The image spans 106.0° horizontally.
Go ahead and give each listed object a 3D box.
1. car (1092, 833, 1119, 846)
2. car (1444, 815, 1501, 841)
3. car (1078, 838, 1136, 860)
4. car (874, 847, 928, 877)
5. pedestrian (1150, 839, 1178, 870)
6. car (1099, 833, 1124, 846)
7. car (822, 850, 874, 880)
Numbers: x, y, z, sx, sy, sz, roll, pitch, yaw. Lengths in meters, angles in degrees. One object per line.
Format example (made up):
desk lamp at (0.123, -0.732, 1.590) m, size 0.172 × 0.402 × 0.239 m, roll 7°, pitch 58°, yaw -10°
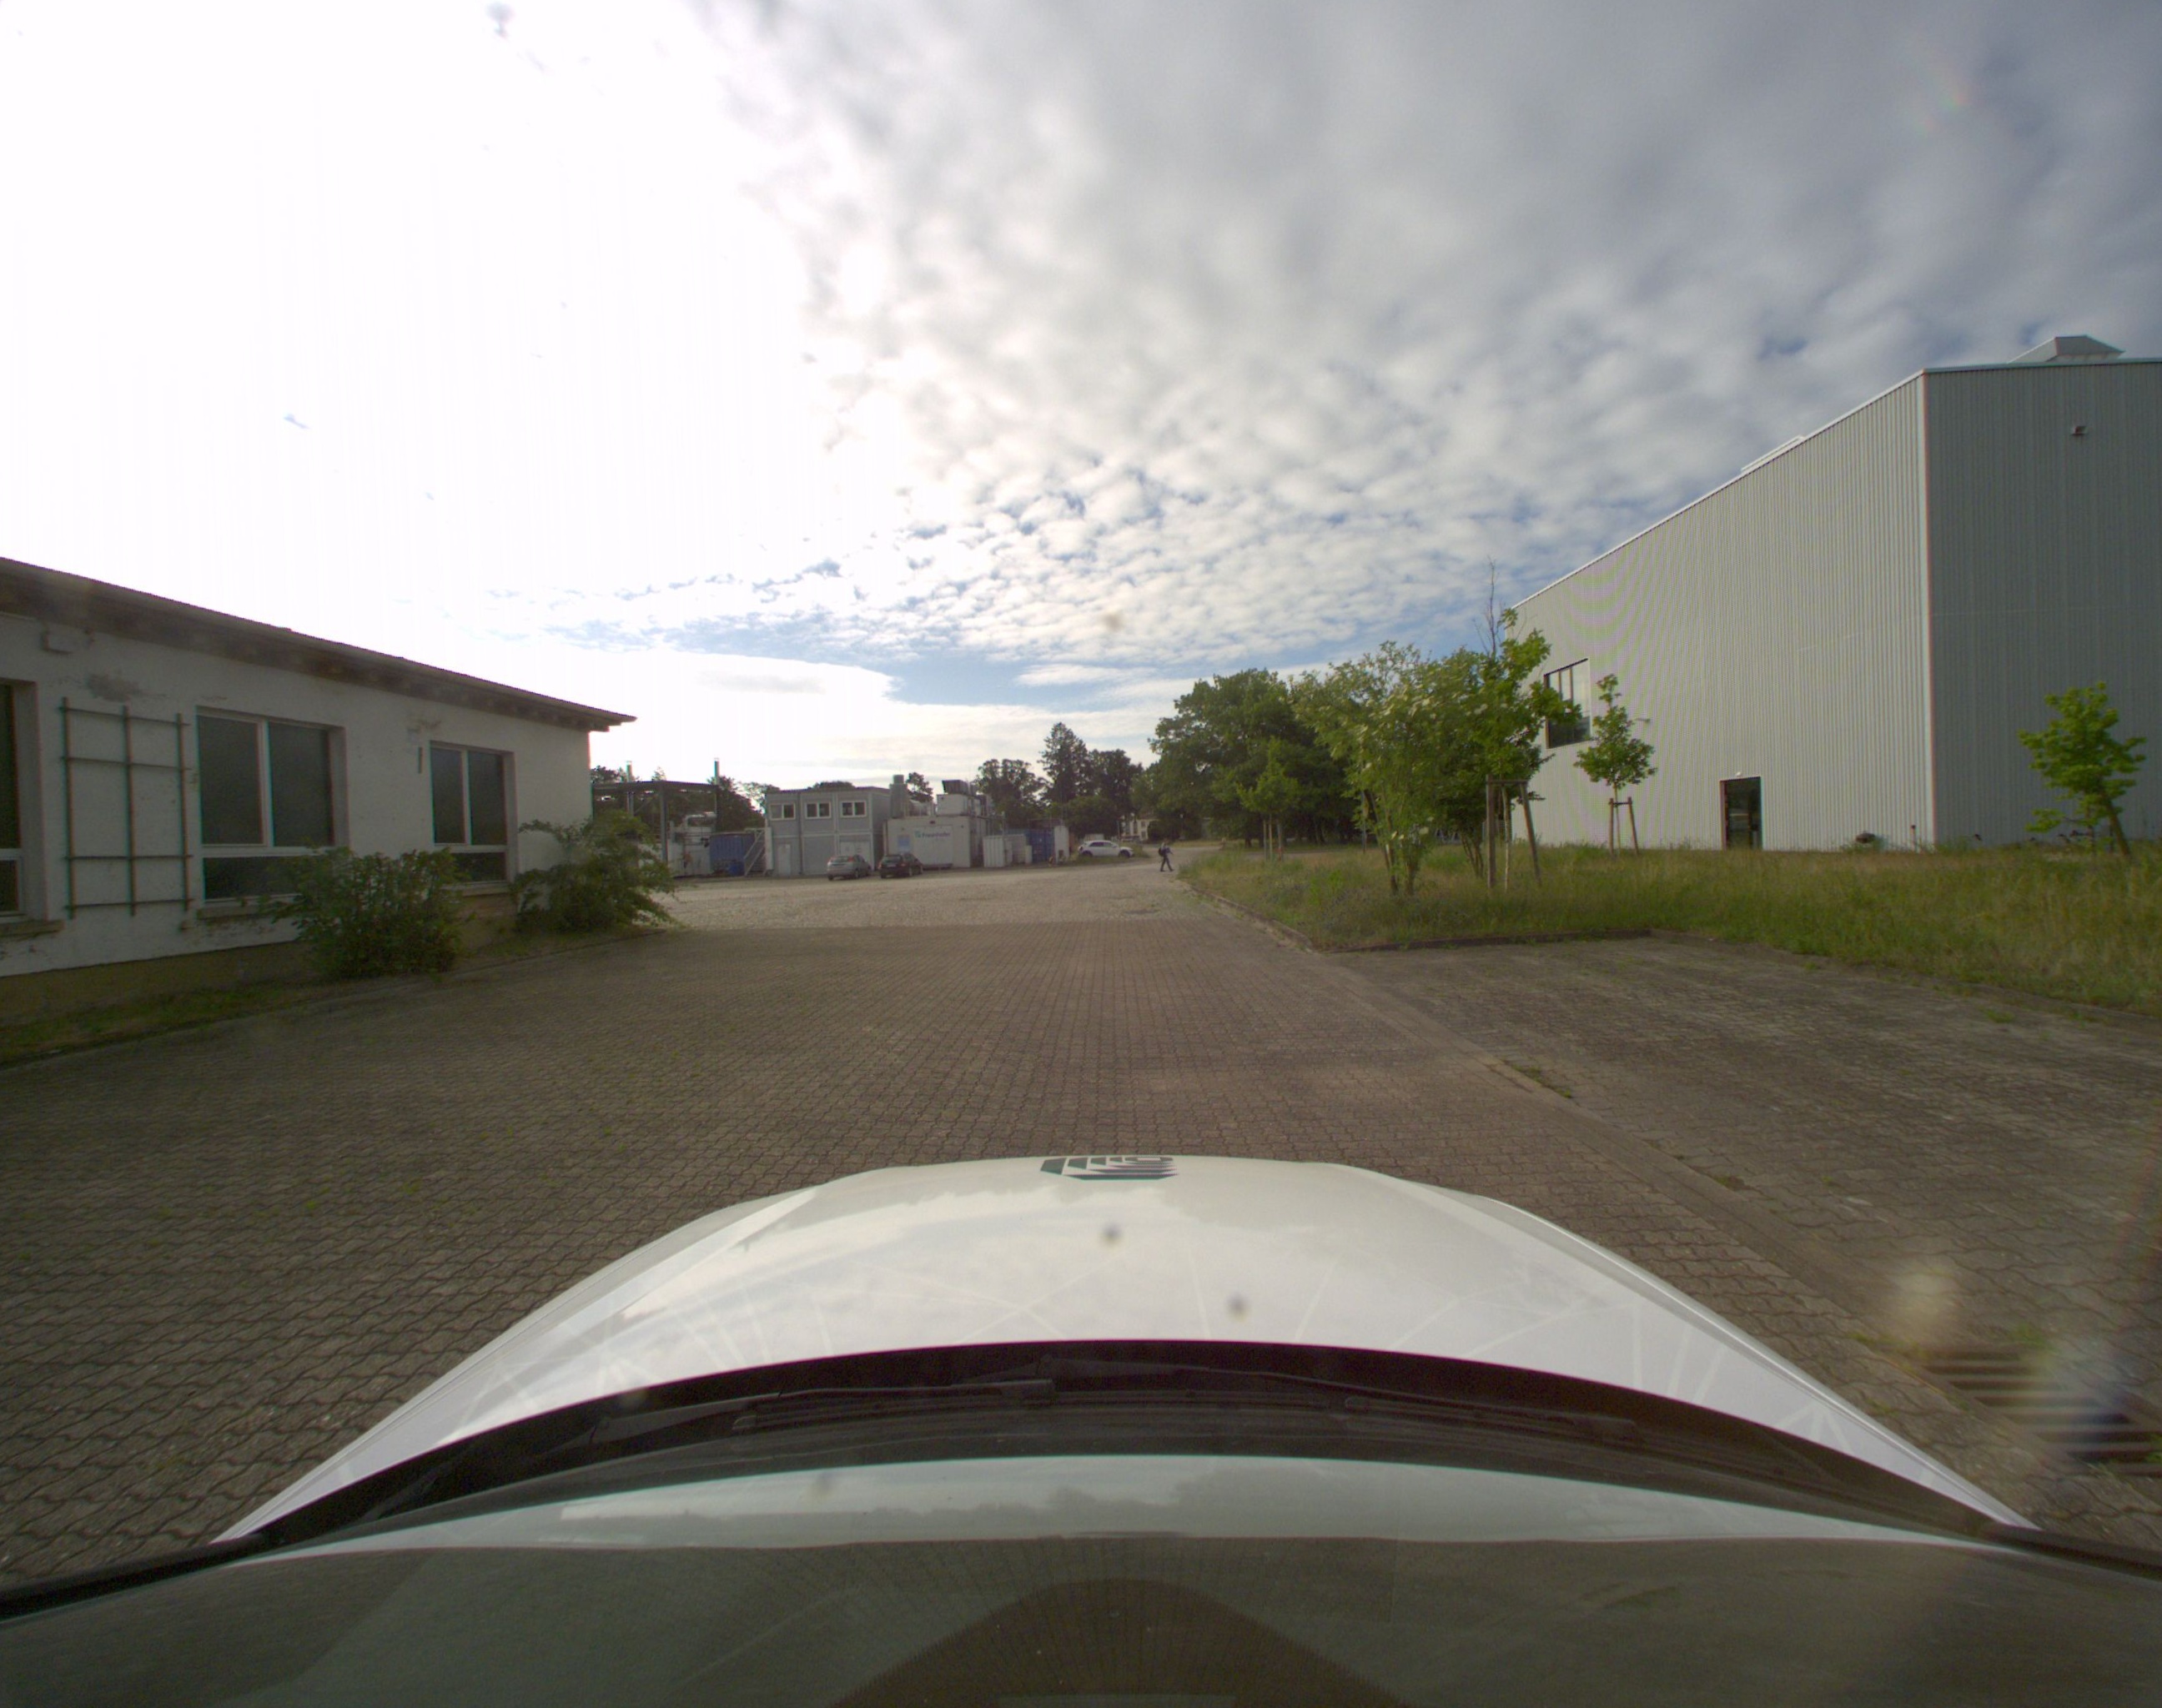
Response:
car at (4.727, -2.863, 157.958) m, size 5.151 × 2.337 × 2.001 m, roll -2°, pitch 1°, yaw 1°
car at (32.543, -2.128, 67.849) m, size 2.233 × 2.013 × 5.338 m, roll -2°, pitch 1°, yaw 1°
car at (2.129, -0.421, 65.933) m, size 4.513 × 1.599 × 2.003 m, roll -2°, pitch 1°, yaw 4°
car at (-10.775, 0.447, 49.173) m, size 2.028 × 1.453 × 4.533 m, roll -2°, pitch 2°, yaw 2°
pedestrian at (4.289, 0.013, 41.944) m, size 1.065 × 1.556 × 1.081 m, roll -2°, pitch 1°, yaw 26°
car at (6.292, -2.995, 167.484) m, size 5.151 × 2.337 × 2.001 m, roll -2°, pitch 1°, yaw 1°
car at (-14.034, 0.631, 49.314) m, size 1.900 × 1.475 × 4.047 m, roll -2°, pitch 2°, yaw 0°
